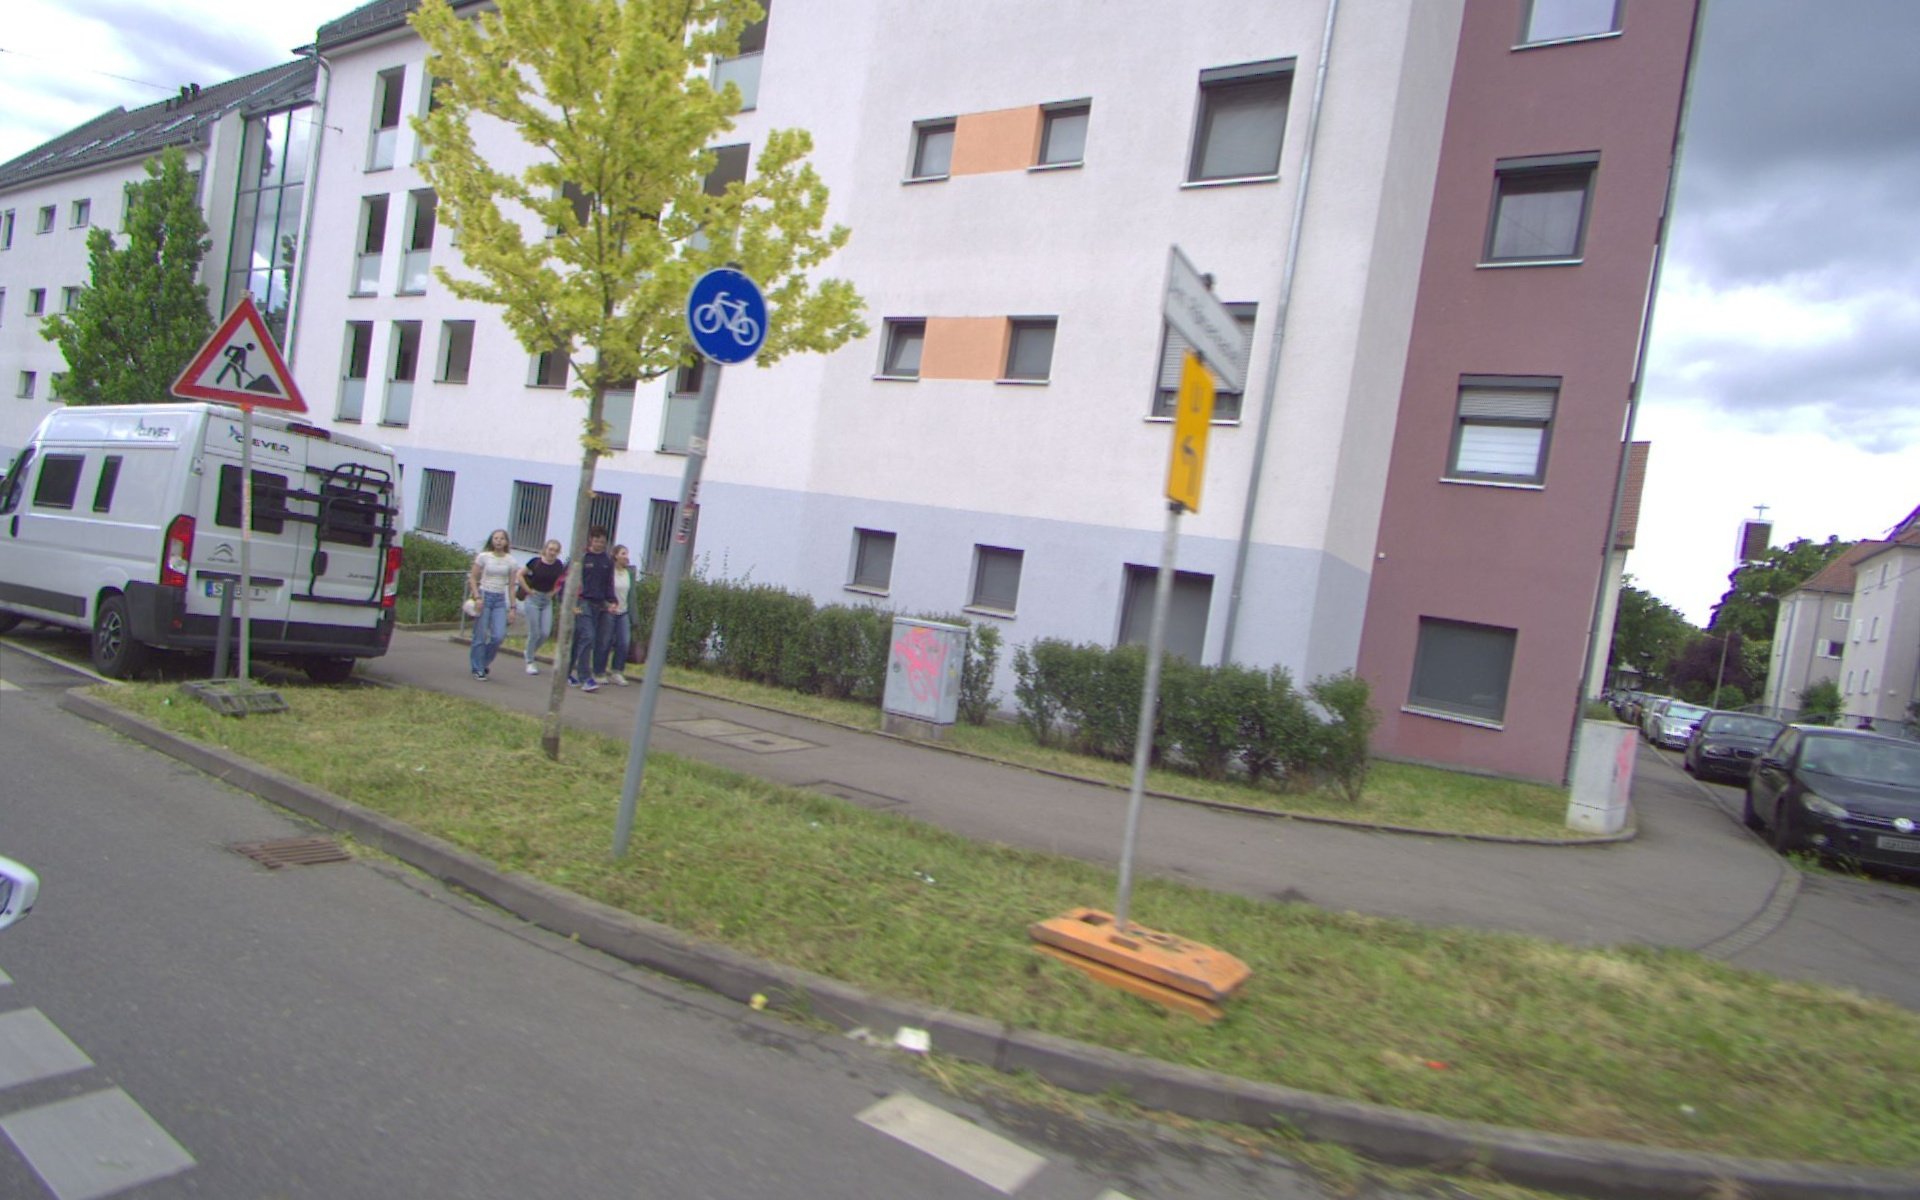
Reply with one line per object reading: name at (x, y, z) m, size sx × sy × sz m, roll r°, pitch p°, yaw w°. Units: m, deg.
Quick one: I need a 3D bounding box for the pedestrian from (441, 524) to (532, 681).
pedestrian at (-5.278, 0.028, 11.239) m, size 0.551 × 1.665 × 0.578 m, roll 6°, pitch 1°, yaw 18°

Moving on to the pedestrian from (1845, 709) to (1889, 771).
pedestrian at (28.754, 4.427, 31.894) m, size 0.705 × 1.818 × 0.732 m, roll 8°, pitch 1°, yaw 30°

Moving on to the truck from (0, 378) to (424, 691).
truck at (-8.394, -0.773, 10.632) m, size 5.594 × 2.597 × 2.055 m, roll 8°, pitch 0°, yaw 31°

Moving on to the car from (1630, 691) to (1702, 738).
car at (27.624, 4.444, 39.478) m, size 1.675 × 1.437 × 3.995 m, roll 8°, pitch 0°, yaw 28°

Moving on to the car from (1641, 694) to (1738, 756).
car at (21.906, 3.709, 30.353) m, size 1.675 × 1.437 × 3.995 m, roll 8°, pitch 0°, yaw 28°

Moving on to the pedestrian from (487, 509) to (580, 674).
pedestrian at (-5.196, -0.095, 12.285) m, size 0.608 × 1.910 × 0.672 m, roll 6°, pitch 1°, yaw 15°

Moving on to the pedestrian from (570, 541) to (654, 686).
pedestrian at (-4.153, 0.148, 12.004) m, size 0.565 × 1.628 × 0.657 m, roll 7°, pitch 5°, yaw 23°

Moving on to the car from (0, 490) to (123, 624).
car at (-12.882, -0.715, 13.266) m, size 3.662 × 1.503 × 1.528 m, roll 7°, pitch -1°, yaw 30°

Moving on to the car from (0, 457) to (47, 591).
car at (-16.916, -1.478, 16.080) m, size 5.124 × 1.968 × 1.996 m, roll 7°, pitch 0°, yaw 32°

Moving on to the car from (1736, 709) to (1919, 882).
car at (10.380, 2.162, 11.653) m, size 1.731 × 1.474 × 3.990 m, roll 8°, pitch 0°, yaw 34°

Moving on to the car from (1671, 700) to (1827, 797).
car at (15.947, 2.930, 20.554) m, size 1.675 × 1.437 × 3.995 m, roll 8°, pitch 0°, yaw 28°

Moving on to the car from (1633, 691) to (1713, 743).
car at (25.212, 4.090, 35.704) m, size 1.675 × 1.437 × 3.995 m, roll 8°, pitch 0°, yaw 28°

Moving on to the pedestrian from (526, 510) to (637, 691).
pedestrian at (-4.242, 0.010, 11.300) m, size 0.752 × 1.910 × 0.672 m, roll 6°, pitch 1°, yaw 20°
